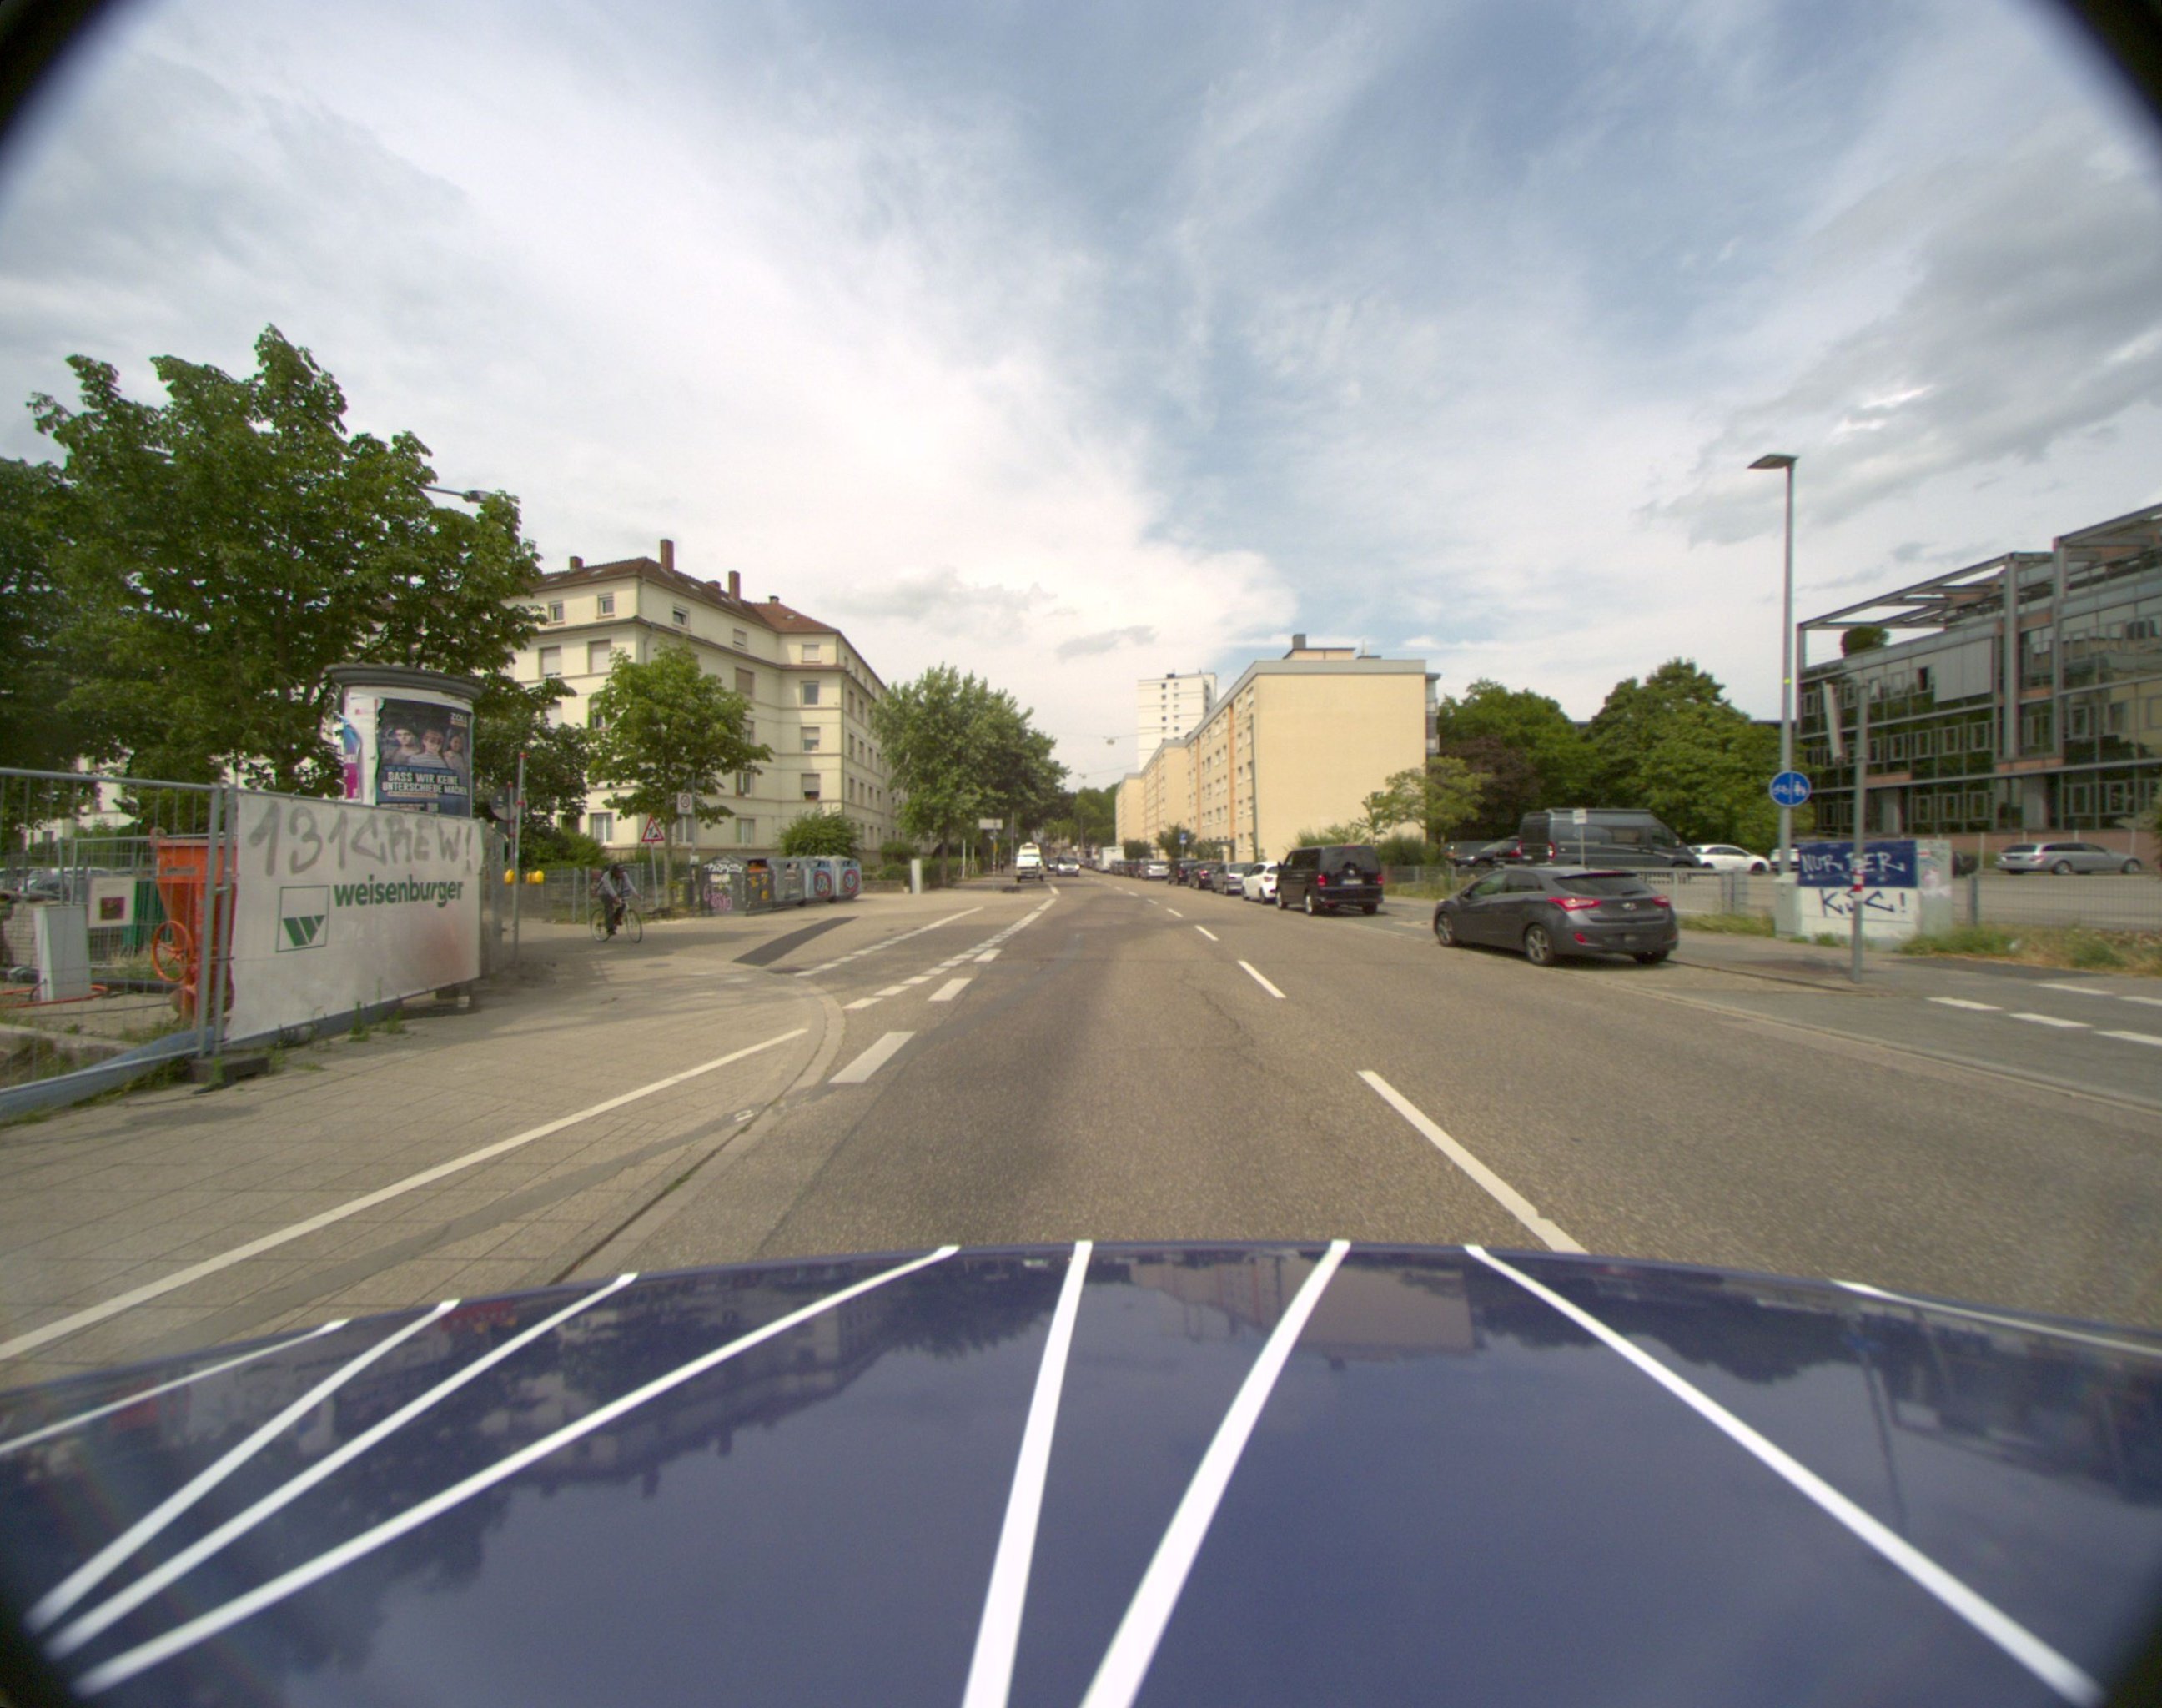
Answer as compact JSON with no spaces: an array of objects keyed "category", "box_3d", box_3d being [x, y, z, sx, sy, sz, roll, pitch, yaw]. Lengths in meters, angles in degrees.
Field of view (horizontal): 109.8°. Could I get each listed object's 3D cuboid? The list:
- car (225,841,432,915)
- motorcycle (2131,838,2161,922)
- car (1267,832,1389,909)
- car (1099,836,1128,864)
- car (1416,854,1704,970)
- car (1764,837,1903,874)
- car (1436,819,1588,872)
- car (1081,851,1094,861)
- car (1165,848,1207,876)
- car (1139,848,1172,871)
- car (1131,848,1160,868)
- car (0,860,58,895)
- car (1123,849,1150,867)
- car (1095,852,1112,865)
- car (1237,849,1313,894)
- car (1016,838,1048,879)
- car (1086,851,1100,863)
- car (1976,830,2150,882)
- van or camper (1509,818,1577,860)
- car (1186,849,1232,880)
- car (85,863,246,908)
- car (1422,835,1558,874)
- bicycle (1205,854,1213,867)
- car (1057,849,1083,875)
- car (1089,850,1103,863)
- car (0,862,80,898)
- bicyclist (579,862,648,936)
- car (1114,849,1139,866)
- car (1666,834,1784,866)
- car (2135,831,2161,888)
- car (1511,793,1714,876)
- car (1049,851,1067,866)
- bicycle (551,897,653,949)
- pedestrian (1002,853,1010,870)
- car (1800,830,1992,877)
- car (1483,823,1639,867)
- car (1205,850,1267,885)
[{"category":"car","box_3d":[-28.179,0.818,28.752,1.897,2.439,5.112,-3,1,20]},{"category":"motorcycle","box_3d":[15.712,0.372,10.172,2.095,1.135,0.725,1,1,4]},{"category":"car","box_3d":[7.168,0.435,22.628,1.954,1.992,4.843,-2,0,-1]},{"category":"car","box_3d":[3.576,-0.419,85.345,2.622,3.040,7.112,1,0,-3]},{"category":"car","box_3d":[7.390,0.783,12.360,1.827,1.464,4.296,-3,0,-2]},{"category":"car","box_3d":[31.168,0.048,31.529,4.166,1.474,1.616,-1,1,0]},{"category":"car","box_3d":[18.005,-0.347,31.977,5.097,2.137,2.229,0,0,2]},{"category":"car","box_3d":[1.056,0.324,127.244,1.806,1.625,3.893,1,1,-3]},{"category":"car","box_3d":[6.179,0.424,45.154,1.627,1.566,3.998,-1,1,-4]},{"category":"car","box_3d":[5.427,0.418,55.923,1.791,1.554,4.550,-3,0,-1]},{"category":"car","box_3d":[5.171,0.304,61.683,1.722,1.615,3.837,-1,1,-5]},{"category":"car","box_3d":[-52.790,1.218,36.504,1.796,1.580,3.923,-3,1,20]},{"category":"car","box_3d":[4.823,0.306,66.463,1.682,1.495,4.261,-1,1,-5]},{"category":"car","box_3d":[2.879,0.588,97.382,1.853,1.623,4.216,1,1,-3]},{"category":"car","box_3d":[7.077,0.615,28.052,1.658,1.520,3.764,-2,0,-3]},{"category":"car","box_3d":[-3.329,0.267,51.793,1.900,2.587,4.903,-3,1,-3]},{"category":"car","box_3d":[1.788,0.458,114.728,1.731,1.608,3.893,1,1,-3]},{"category":"car","box_3d":[42.150,0.076,32.712,4.371,2.124,2.205,1,1,4]},{"category":"van or camper","box_3d":[34.175,-1.063,56.383,1.998,2.856,4.901,3,0,0]},{"category":"car","box_3d":[6.605,0.514,39.579,1.691,1.462,4.047,-1,0,0]},{"category":"car","box_3d":[-38.778,1.289,32.316,1.796,1.580,3.923,-3,1,20]},{"category":"car","box_3d":[18.501,0.028,34.547,5.097,1.663,2.001,-1,0,2]},{"category":"bicycle","box_3d":[11.506,0.576,68.330,0.534,1.200,2.018,-2,1,4]},{"category":"car","box_3d":[-0.964,0.635,64.036,1.999,2.002,3.998,1,1,-3]},{"category":"car","box_3d":[2.147,0.397,109.378,1.724,1.787,3.893,1,1,-3]},{"category":"car","box_3d":[-50.563,1.276,35.630,1.796,1.580,3.923,-3,1,20]},{"category":"bicyclist","box_3d":[-9.249,0.881,15.036,1.078,1.404,0.716,-3,-1,32]},{"category":"car","box_3d":[4.316,0.304,72.903,1.723,1.498,4.623,0,1,-5]},{"category":"car","box_3d":[30.834,-0.195,36.465,3.997,1.474,1.969,-1,1,0]},{"category":"car","box_3d":[42.482,0.215,27.847,4.371,2.124,2.205,1,1,4]},{"category":"car","box_3d":[18.389,-0.663,26.527,5.324,2.537,2.354,-3,1,1]},{"category":"car","box_3d":[-2.777,0.479,90.670,1.999,1.656,3.998,1,1,-3]},{"category":"bicycle","box_3d":[-9.677,1.357,15.307,2.473,0.927,0.716,-1,0,32]},{"category":"pedestrian","box_3d":[-8.238,0.844,83.588,0.808,1.793,0.763,1,1,-3]},{"category":"car","box_3d":[30.947,-0.026,28.996,4.703,1.654,2.330,1,0,2]},{"category":"car","box_3d":[18.304,-0.333,29.154,4.708,1.608,2.001,-1,0,2]},{"category":"car","box_3d":[6.798,0.572,33.760,1.692,1.448,4.262,-1,0,-2]}]
